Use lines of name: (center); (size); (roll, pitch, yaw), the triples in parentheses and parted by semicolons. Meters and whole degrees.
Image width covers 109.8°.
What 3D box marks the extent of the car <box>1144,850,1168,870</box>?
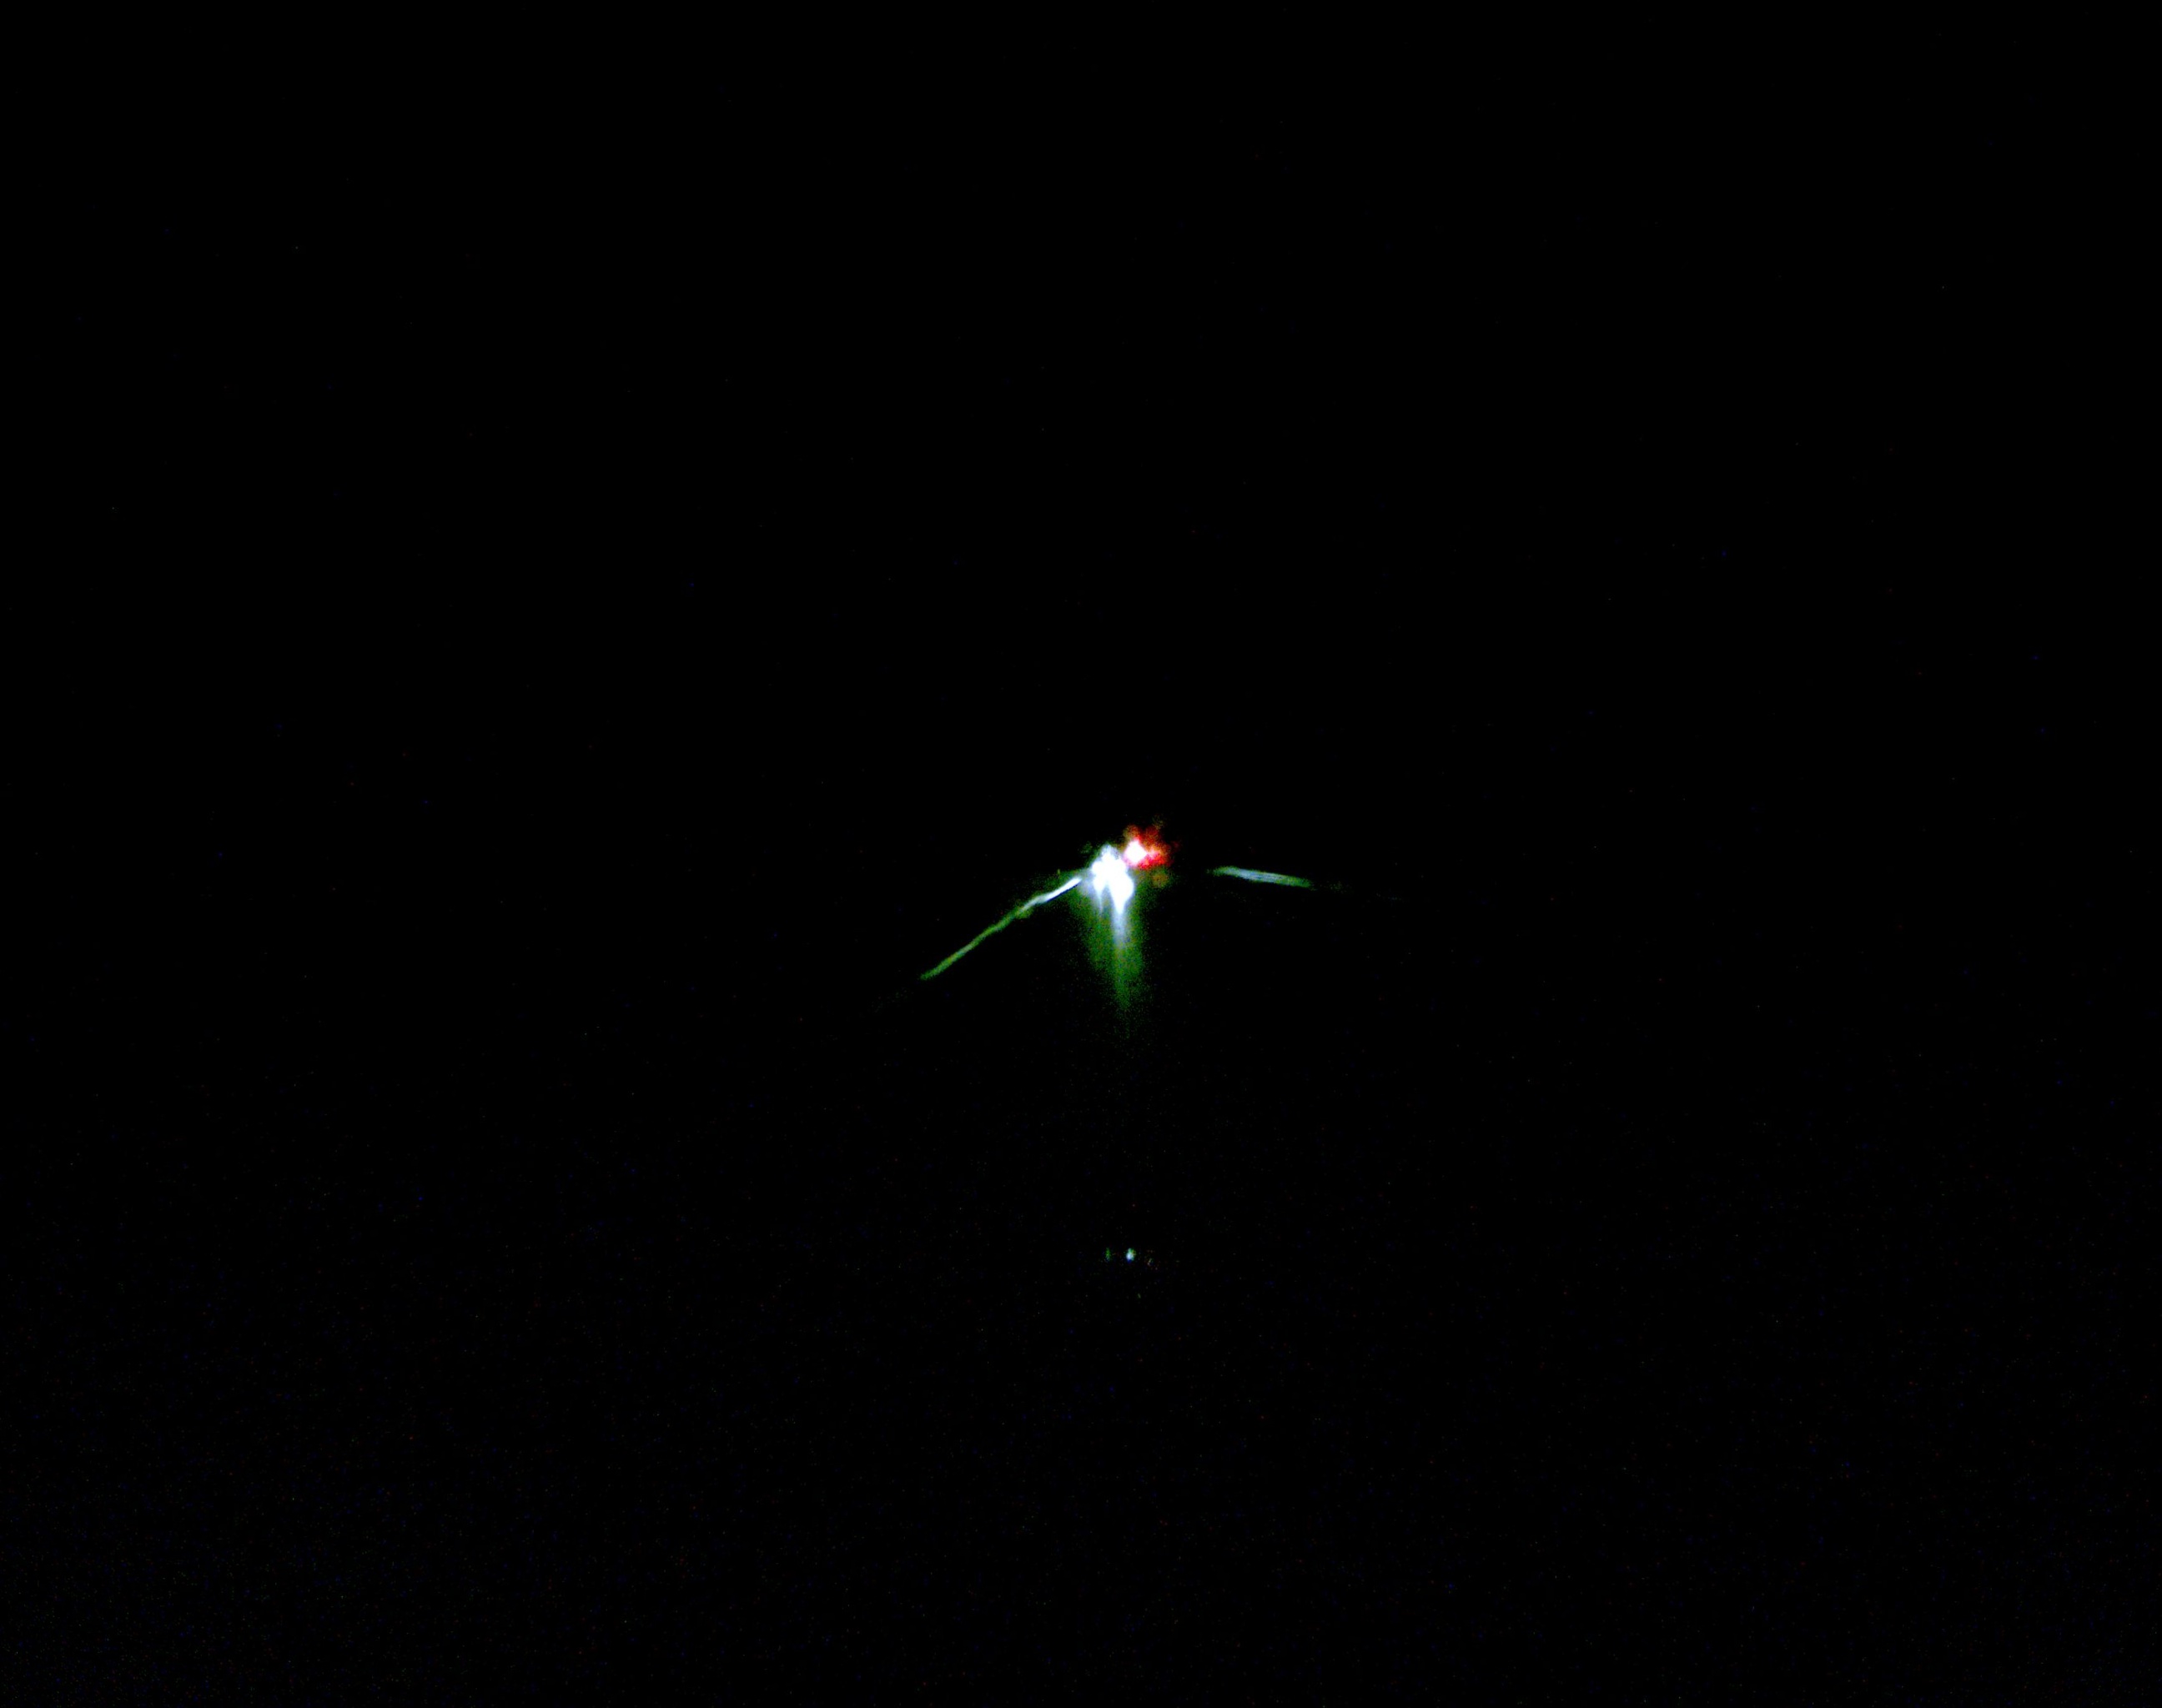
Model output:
car: (6.323, 0.503, 64.444); (1.859, 1.512, 4.682); (-3, 0, 4)

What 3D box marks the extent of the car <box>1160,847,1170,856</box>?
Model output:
car: (16.363, -0.443, 148.410); (1.834, 1.545, 4.443); (-3, 0, 4)

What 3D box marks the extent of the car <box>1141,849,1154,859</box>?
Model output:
car: (11.184, 0.004, 127.695); (1.998, 1.488, 4.358); (-2, 0, 5)

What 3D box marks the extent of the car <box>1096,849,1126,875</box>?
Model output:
car: (2.388, 0.565, 58.988); (1.998, 1.804, 4.001); (-4, 0, 5)
